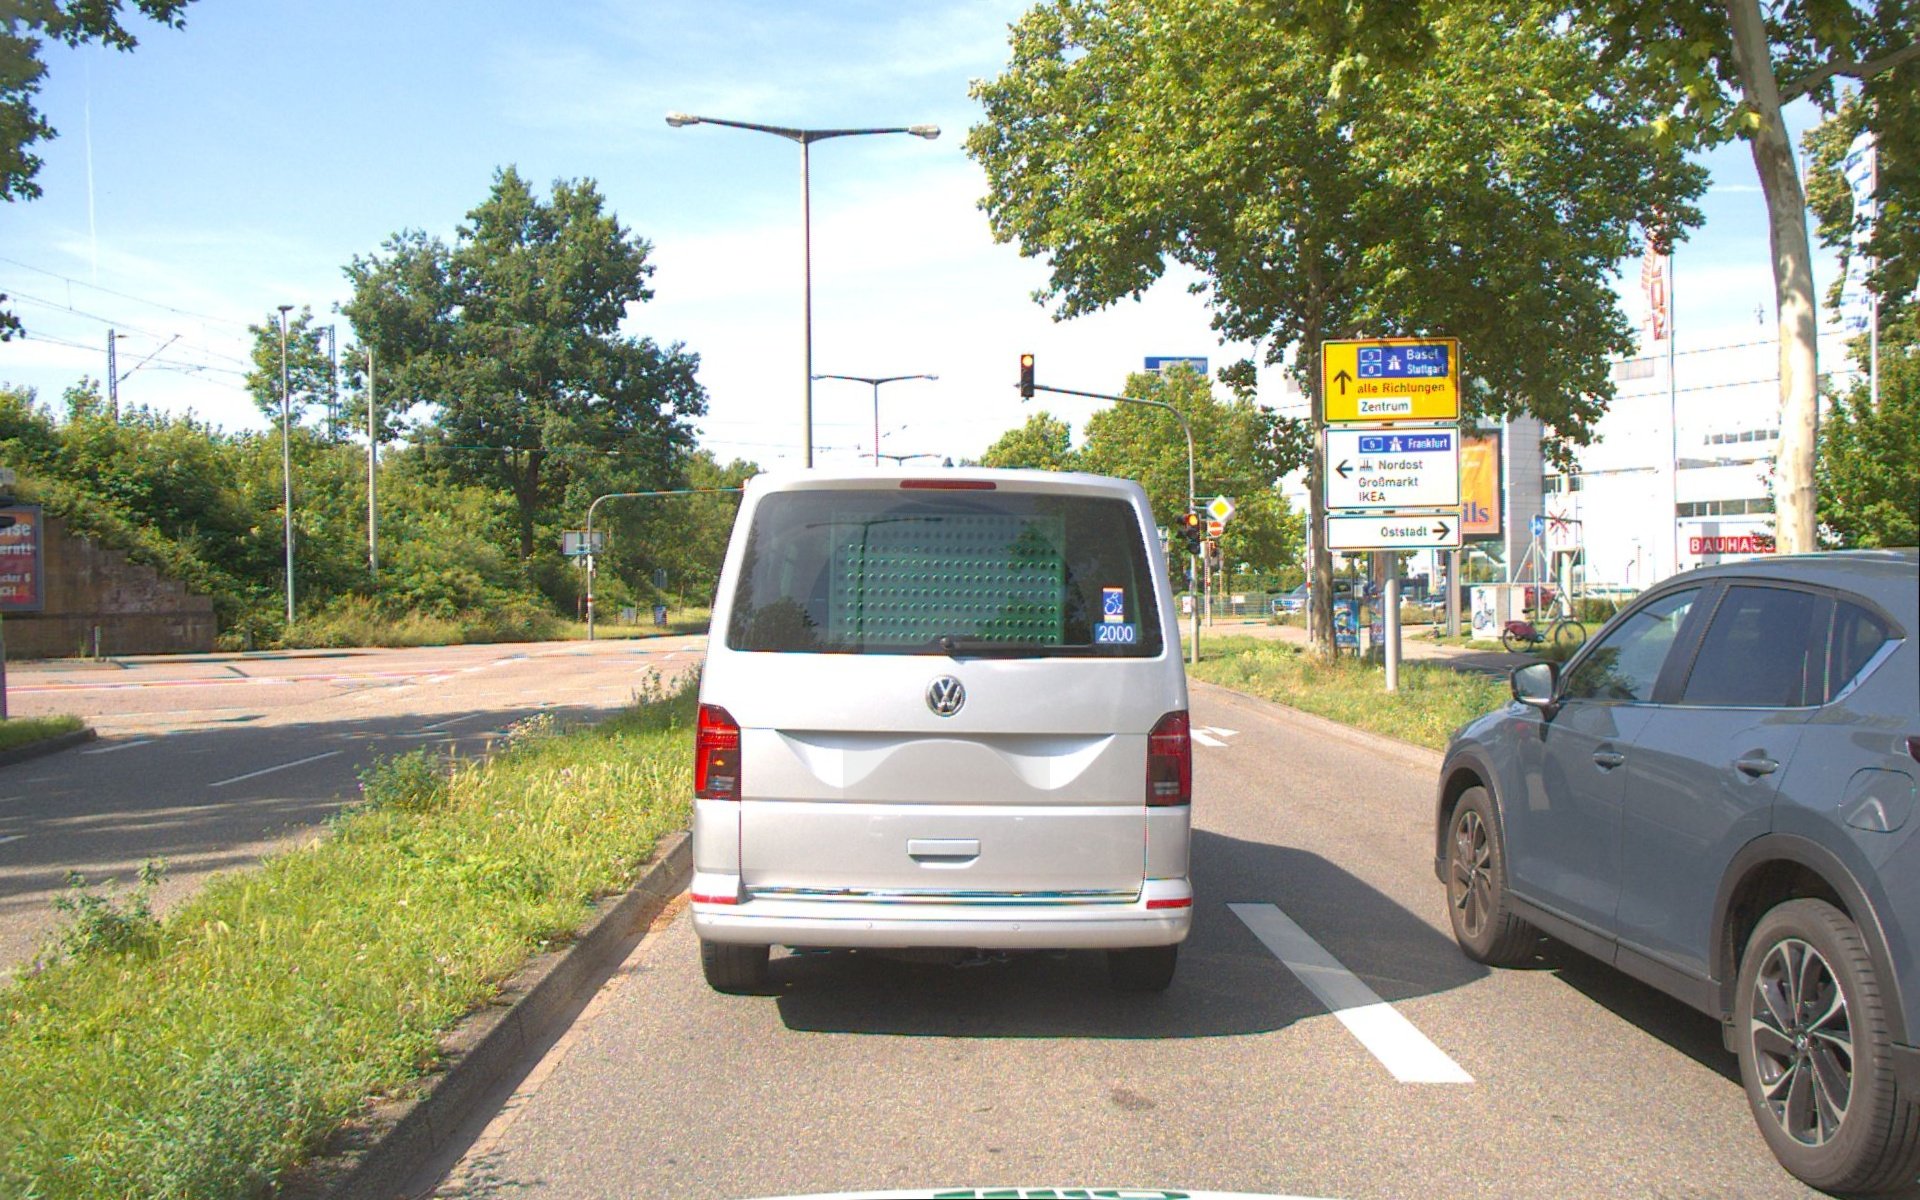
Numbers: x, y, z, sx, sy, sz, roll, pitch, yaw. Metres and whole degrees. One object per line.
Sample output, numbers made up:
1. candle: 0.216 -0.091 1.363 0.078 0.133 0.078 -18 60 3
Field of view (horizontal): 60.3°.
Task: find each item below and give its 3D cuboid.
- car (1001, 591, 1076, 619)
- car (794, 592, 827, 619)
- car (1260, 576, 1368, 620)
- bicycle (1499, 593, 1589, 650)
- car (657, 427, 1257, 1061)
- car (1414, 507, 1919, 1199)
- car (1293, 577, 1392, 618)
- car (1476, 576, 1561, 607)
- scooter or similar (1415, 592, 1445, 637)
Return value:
1. car: 4.347 0.291 92.136 1.762 1.469 4.568 -1 0 -36
2. car: -9.129 0.340 101.390 1.813 1.588 3.998 -1 0 -3
3. car: 14.767 -0.095 68.964 4.578 1.718 1.890 -1 0 -38
4. bicycle: 12.502 0.461 35.447 1.748 1.127 0.504 -3 -1 18
5. car: -0.043 0.451 7.789 1.902 2.006 5.021 0 0 -1
6. car: 3.058 0.636 5.509 1.730 1.688 4.495 1 0 -2
7. car: 17.354 -0.119 74.907 4.578 1.718 1.890 -1 0 -38
8. car: 27.855 -0.439 82.463 4.578 1.469 1.758 -1 0 -38
9. scooter or similar: 12.090 0.362 42.573 0.416 1.146 1.123 -1 0 -2
